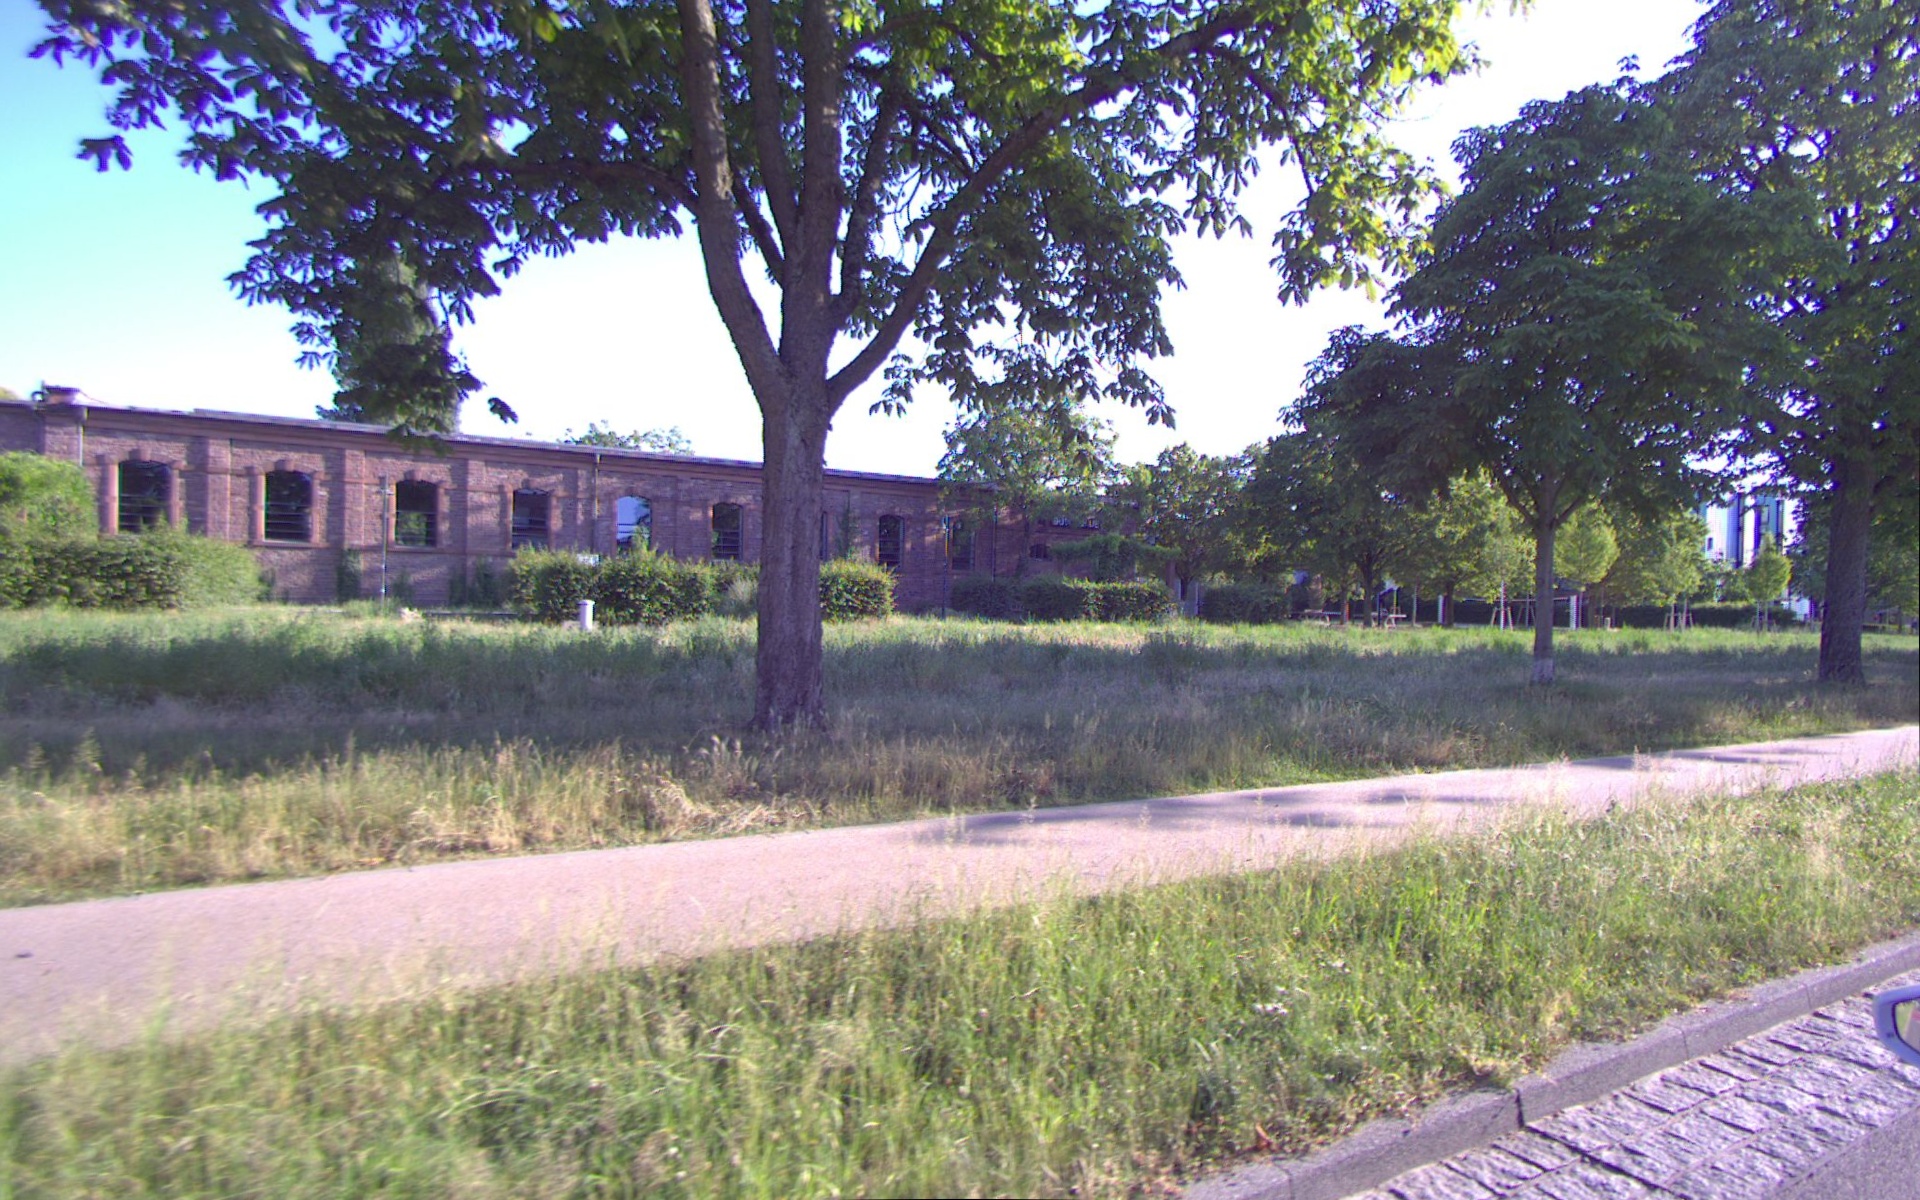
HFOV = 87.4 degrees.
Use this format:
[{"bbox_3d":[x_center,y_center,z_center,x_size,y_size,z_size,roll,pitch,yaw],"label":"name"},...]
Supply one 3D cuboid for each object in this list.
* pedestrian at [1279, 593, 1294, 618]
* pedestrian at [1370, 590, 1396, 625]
[{"bbox_3d":[19.929,0.350,61.317,0.497,1.498,0.583,2,2,-39],"label":"pedestrian"},{"bbox_3d":[23.874,0.423,56.698,0.787,1.906,1.044,2,2,-27],"label":"pedestrian"}]
